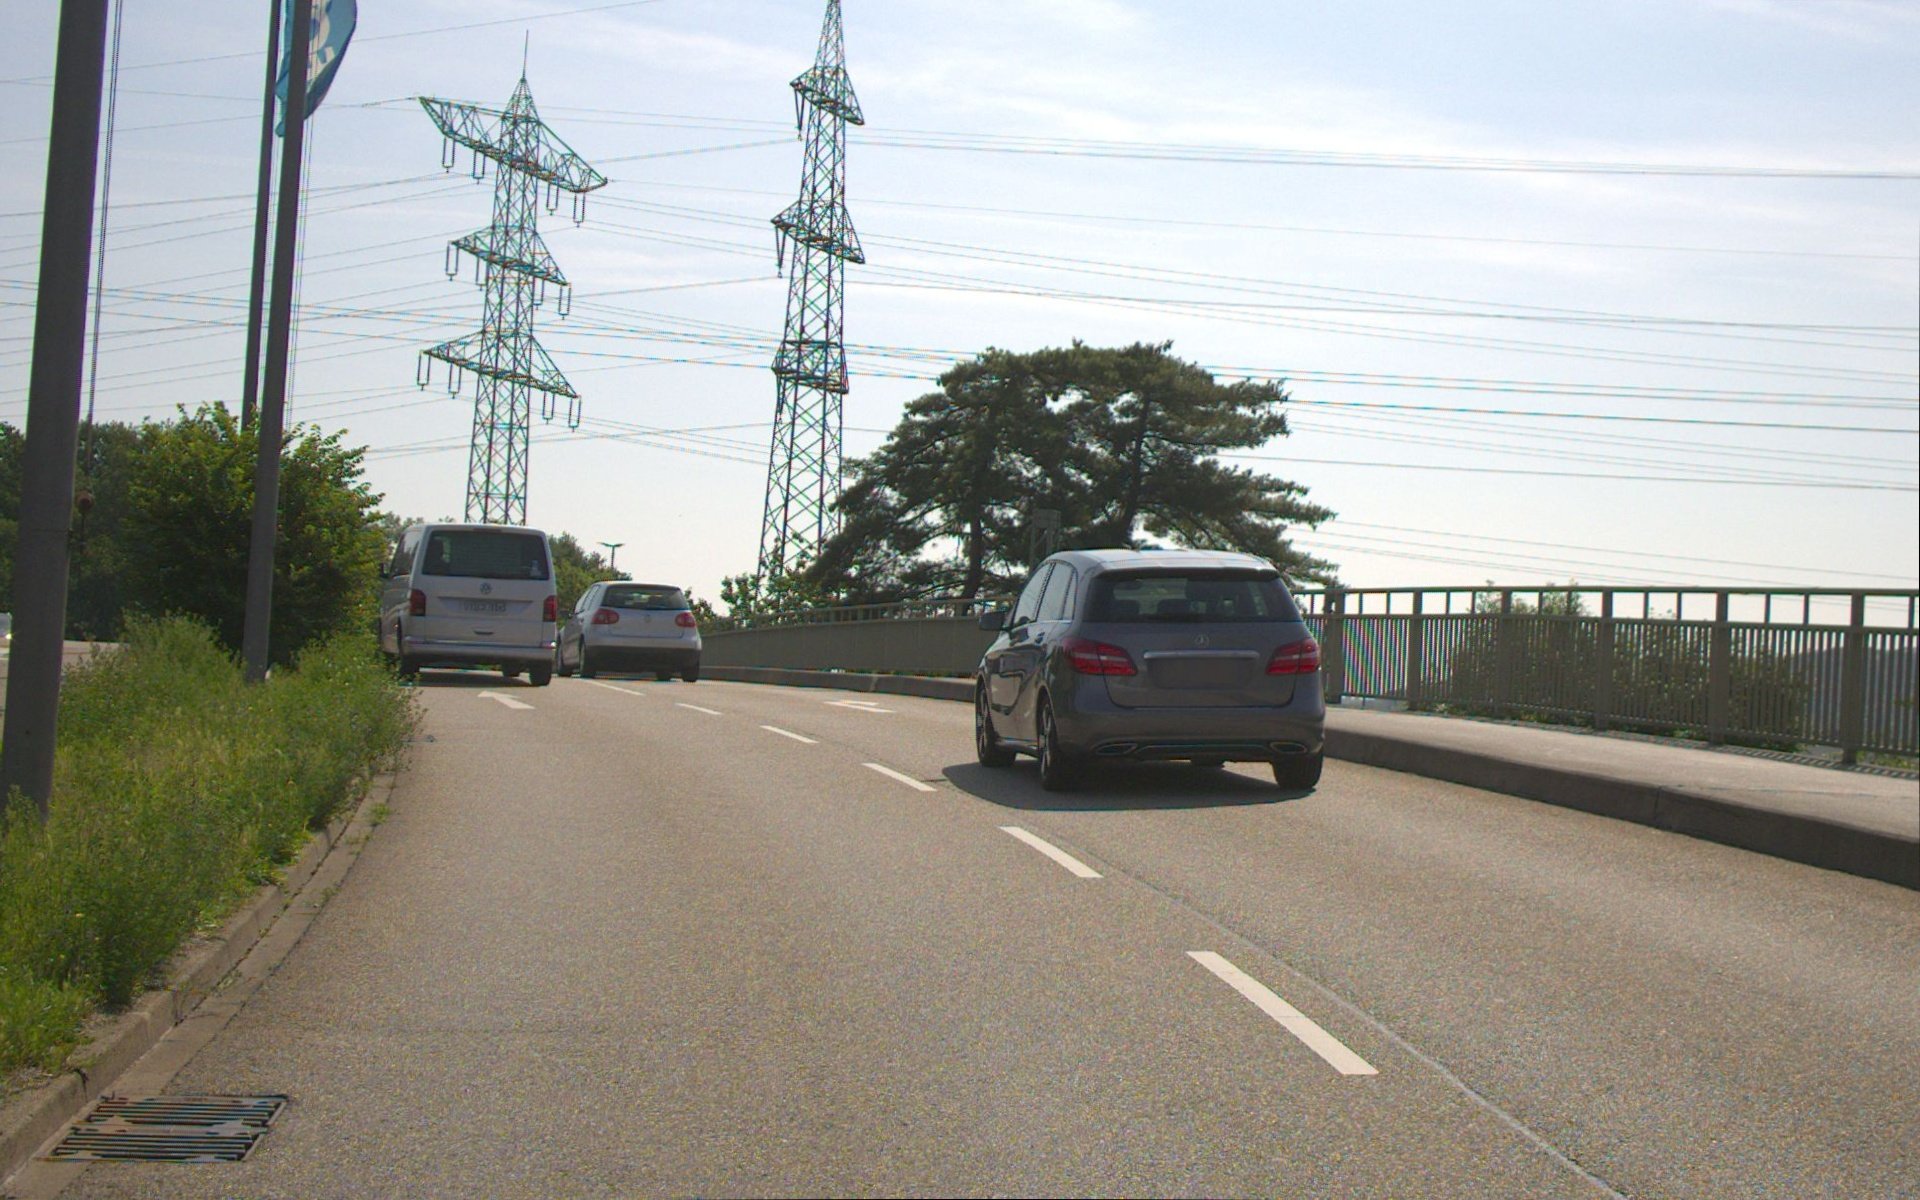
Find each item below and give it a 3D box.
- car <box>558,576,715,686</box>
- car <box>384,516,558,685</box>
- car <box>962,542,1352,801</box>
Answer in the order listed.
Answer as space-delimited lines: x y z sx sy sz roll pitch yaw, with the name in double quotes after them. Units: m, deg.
-4.907 0.434 51.650 1.856 1.524 4.145 2 0 -12 "car"
-6.098 -0.013 43.045 2.038 2.007 4.001 0 0 -7 "car"
1.212 0.447 23.096 1.856 1.524 4.145 2 0 -7 "car"
